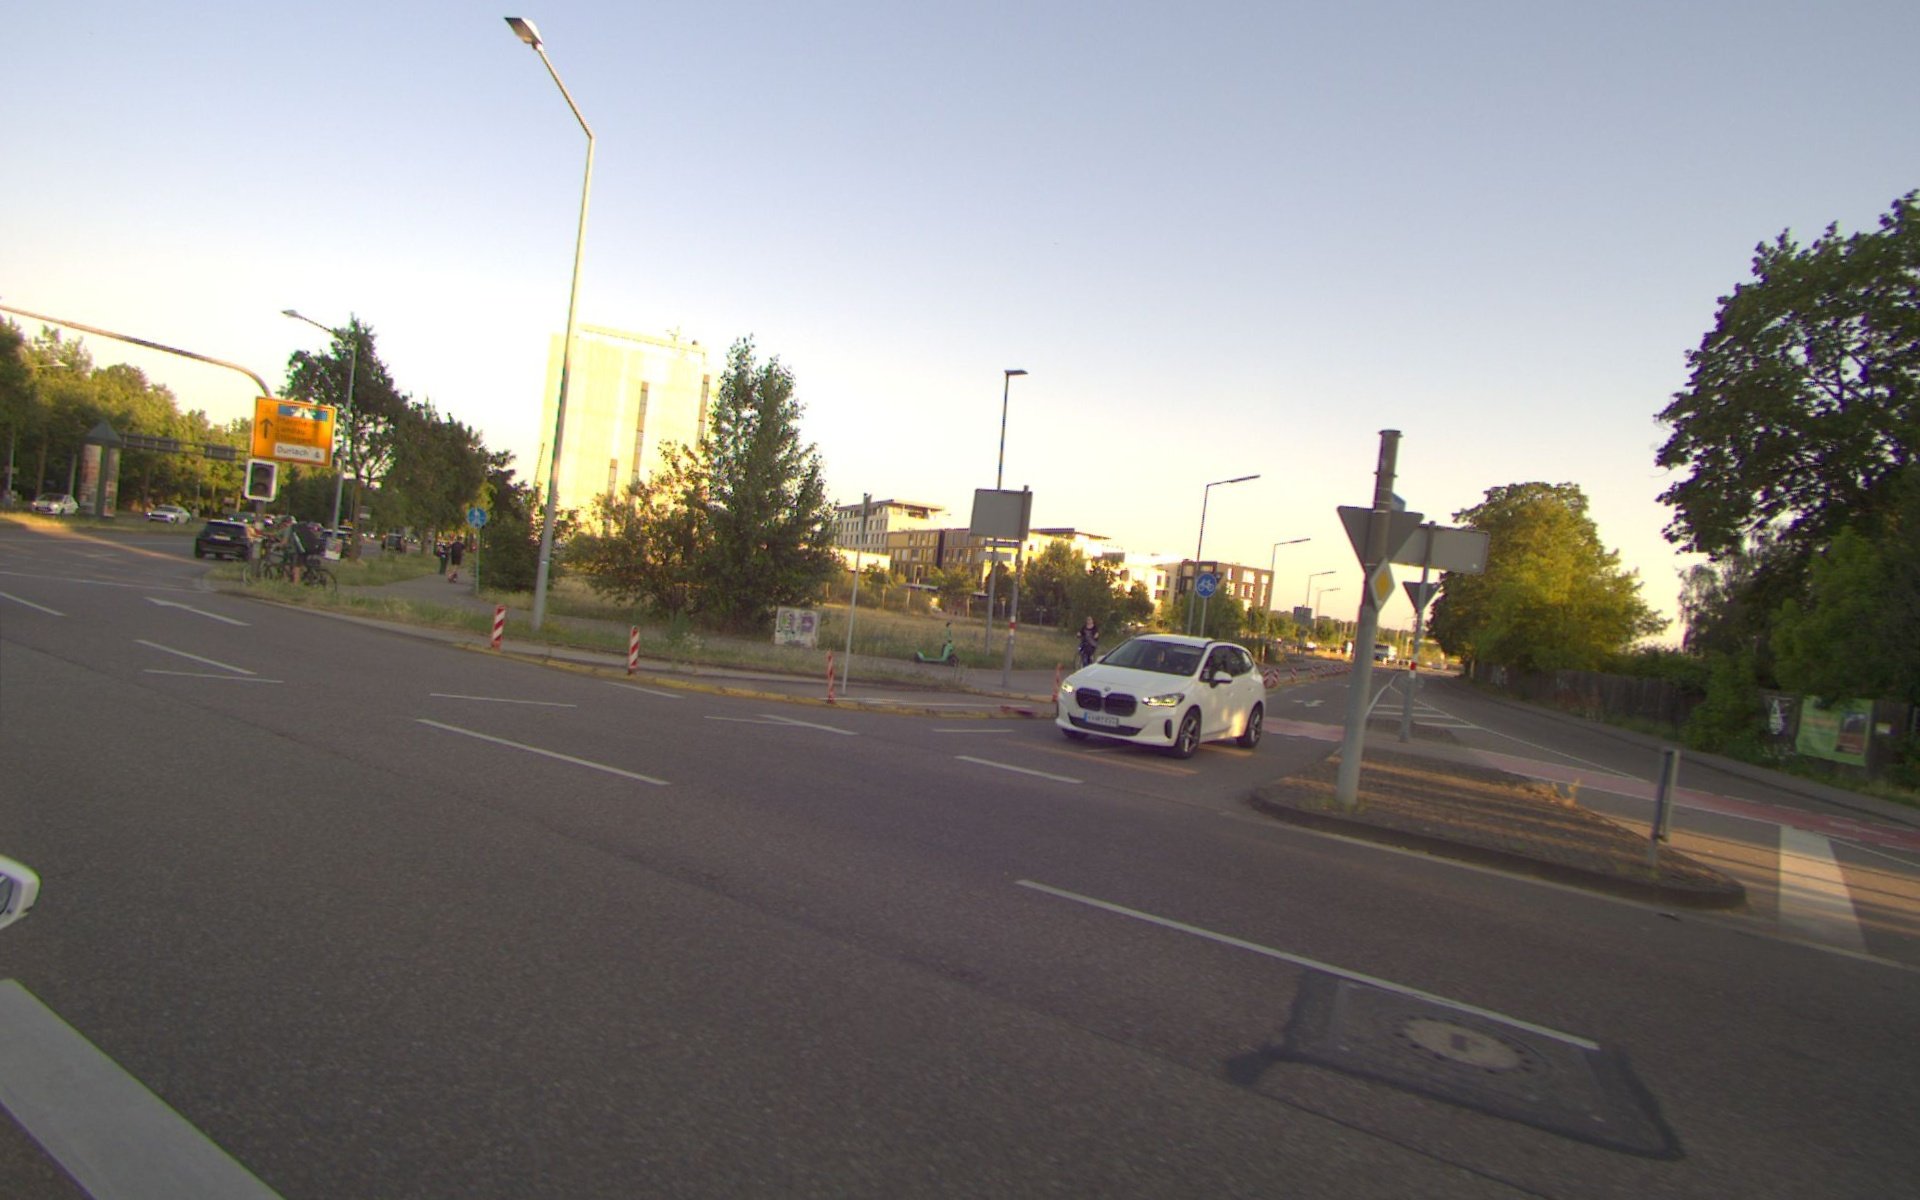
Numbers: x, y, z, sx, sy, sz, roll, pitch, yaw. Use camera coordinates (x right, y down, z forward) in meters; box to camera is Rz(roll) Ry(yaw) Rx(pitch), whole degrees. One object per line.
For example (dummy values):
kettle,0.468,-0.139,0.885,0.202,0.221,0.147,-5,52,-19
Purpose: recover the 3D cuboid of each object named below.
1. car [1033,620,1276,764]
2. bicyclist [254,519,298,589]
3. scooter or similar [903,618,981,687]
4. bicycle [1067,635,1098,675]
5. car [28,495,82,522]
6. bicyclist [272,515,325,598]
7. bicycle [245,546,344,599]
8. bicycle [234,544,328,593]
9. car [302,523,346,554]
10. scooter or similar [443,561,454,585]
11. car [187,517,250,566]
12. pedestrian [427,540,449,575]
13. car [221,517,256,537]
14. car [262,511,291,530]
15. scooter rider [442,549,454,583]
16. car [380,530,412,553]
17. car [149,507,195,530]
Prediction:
car,2.926,1.280,14.403,1.861,1.577,4.084,6,-1,34
bicyclist,-17.606,-1.189,25.912,0.760,1.725,0.637,4,2,-27
scooter or similar,-0.365,1.062,20.459,1.357,1.177,0.442,9,1,11
bicycle,3.576,1.624,29.330,0.275,1.102,1.370,7,0,30
car,-61.810,-6.251,68.762,1.532,1.461,3.470,6,0,-21
bicyclist,-16.090,-1.047,24.500,0.898,1.922,0.637,4,2,-27
bicycle,-16.188,-0.672,24.508,1.904,1.099,0.453,5,2,-26
bicycle,-17.506,-0.802,25.976,1.903,1.099,0.453,4,2,-26
car,-37.681,-3.643,59.667,1.731,1.507,4.105,7,0,-28
scooter or similar,-20.462,-1.096,40.215,0.244,0.925,1.033,7,1,-24
car,-29.197,-2.330,39.564,1.803,1.544,4.091,7,0,-38
pedestrian,-24.862,-2.021,47.921,0.786,1.569,0.564,6,1,-24
car,-71.385,-7.230,99.623,1.779,1.653,4.431,6,0,-23
car,-77.521,-9.001,114.110,1.898,1.776,4.891,5,0,-25
scooter rider,-20.437,-1.362,40.175,0.261,1.356,0.404,6,1,-24
car,-47.384,-4.896,84.572,1.888,1.638,3.975,7,0,-25
car,-62.364,-6.451,79.687,1.706,1.466,4.521,7,0,-25
